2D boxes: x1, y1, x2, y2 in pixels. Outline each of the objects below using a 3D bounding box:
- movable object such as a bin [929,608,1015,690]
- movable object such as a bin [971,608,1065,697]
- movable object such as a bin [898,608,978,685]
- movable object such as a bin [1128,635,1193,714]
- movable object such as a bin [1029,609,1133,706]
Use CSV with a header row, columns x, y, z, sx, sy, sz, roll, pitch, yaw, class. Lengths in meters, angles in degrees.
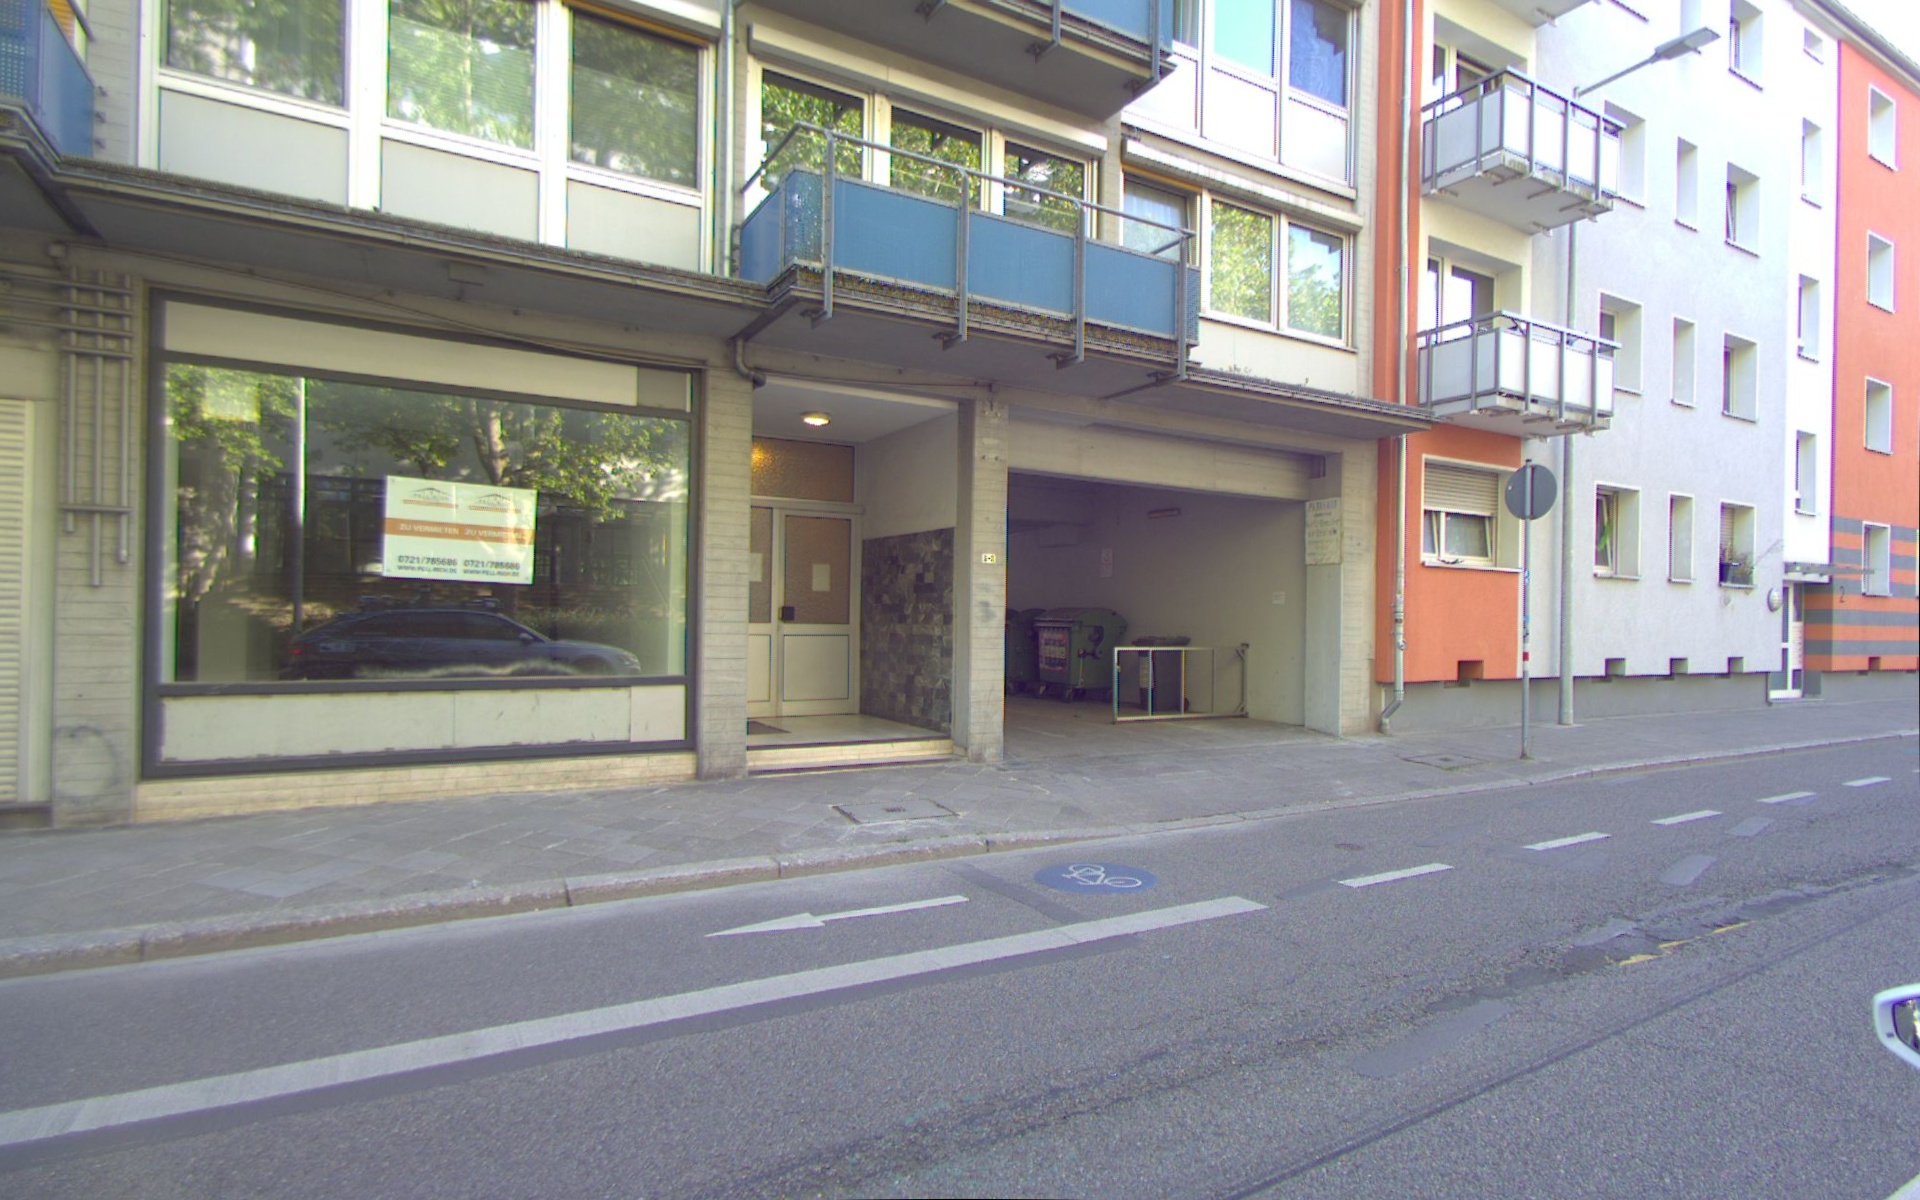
x,y,z,sx,sy,sz,roll,pitch,yaw,class
0.211,0.876,18.469,1.116,1.444,1.201,1,0,-30,movable object such as a bin
0.981,0.869,17.171,1.116,1.444,1.201,1,0,-30,movable object such as a bin
-0.436,0.883,19.618,1.116,1.444,1.201,1,0,-30,movable object such as a bin
2.891,1.056,14.502,0.667,1.079,0.639,1,0,-30,movable object such as a bin
1.893,0.874,15.812,1.116,1.444,1.201,1,0,-30,movable object such as a bin
